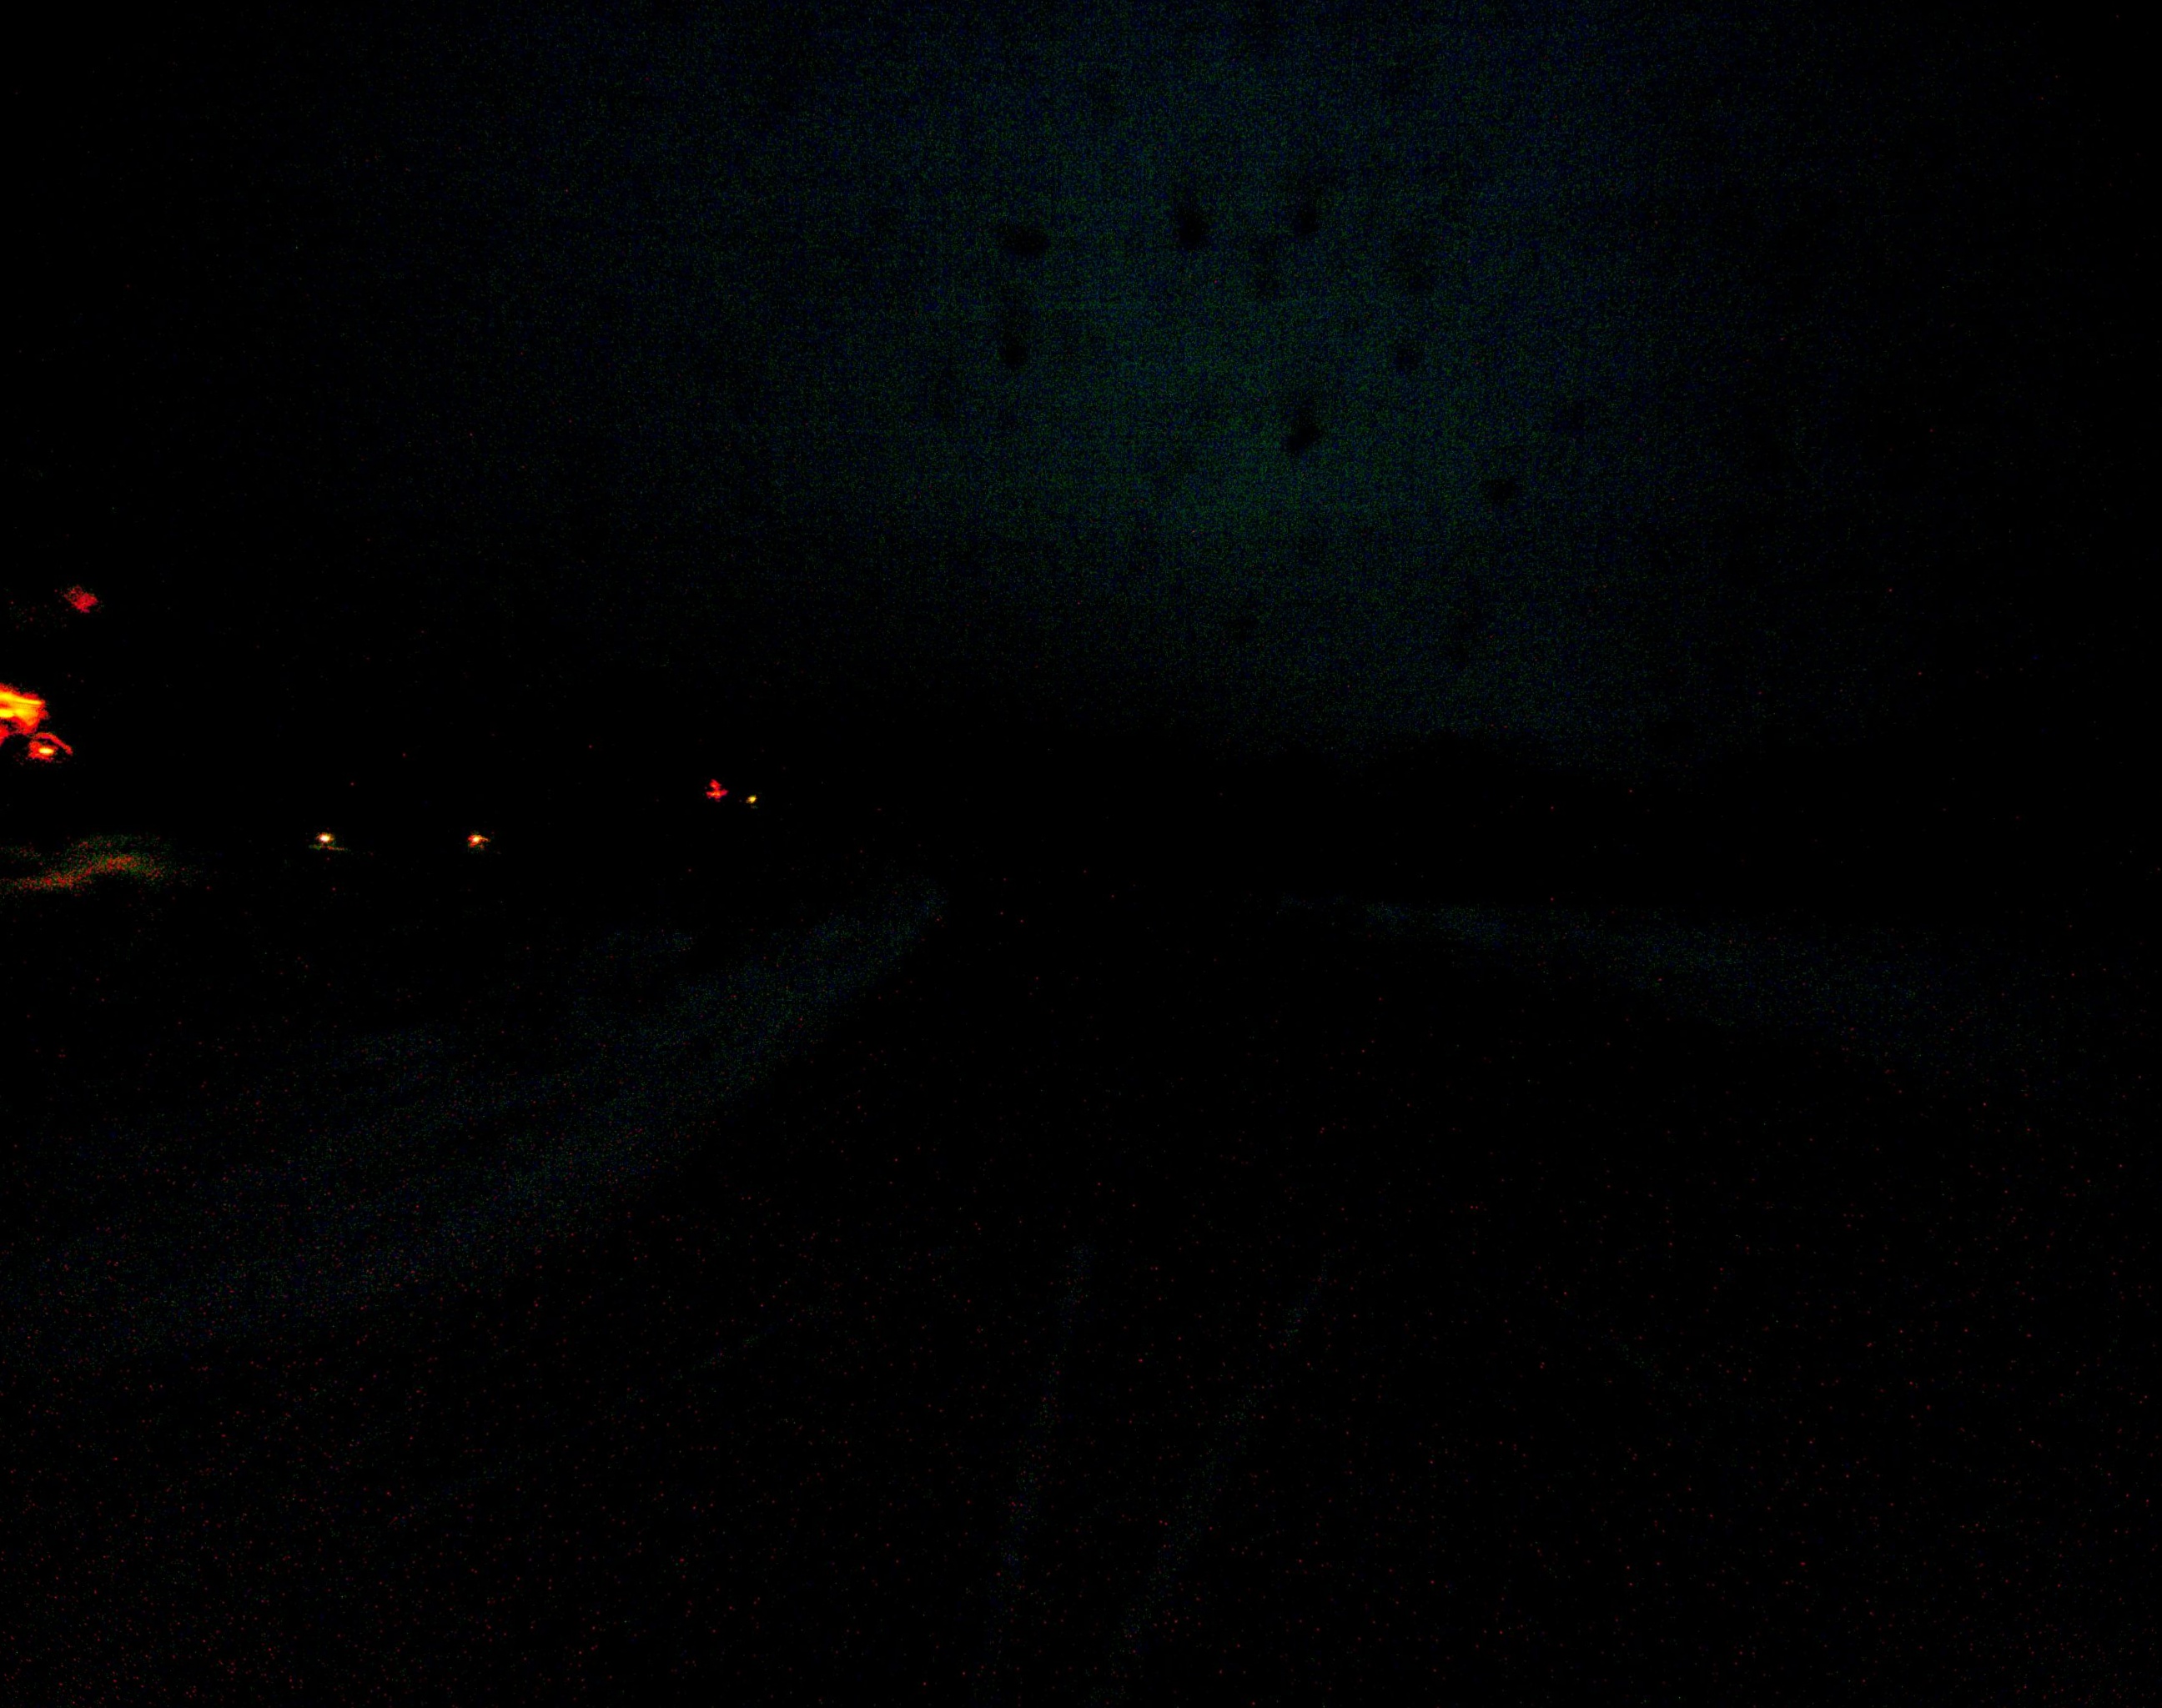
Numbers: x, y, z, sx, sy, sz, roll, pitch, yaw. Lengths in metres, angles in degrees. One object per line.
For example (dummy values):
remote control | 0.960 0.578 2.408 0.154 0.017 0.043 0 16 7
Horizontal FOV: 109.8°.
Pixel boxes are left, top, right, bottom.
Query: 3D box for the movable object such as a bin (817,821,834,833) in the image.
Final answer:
movable object such as a bin | -38.549 -4.048 114.636 2.373 1.640 1.438 -3 5 -20

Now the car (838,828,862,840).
car | -29.645 -2.570 97.567 1.727 1.526 3.505 0 3 -40

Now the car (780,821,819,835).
car | -45.640 -4.174 123.262 5.289 2.003 2.206 0 6 -45
